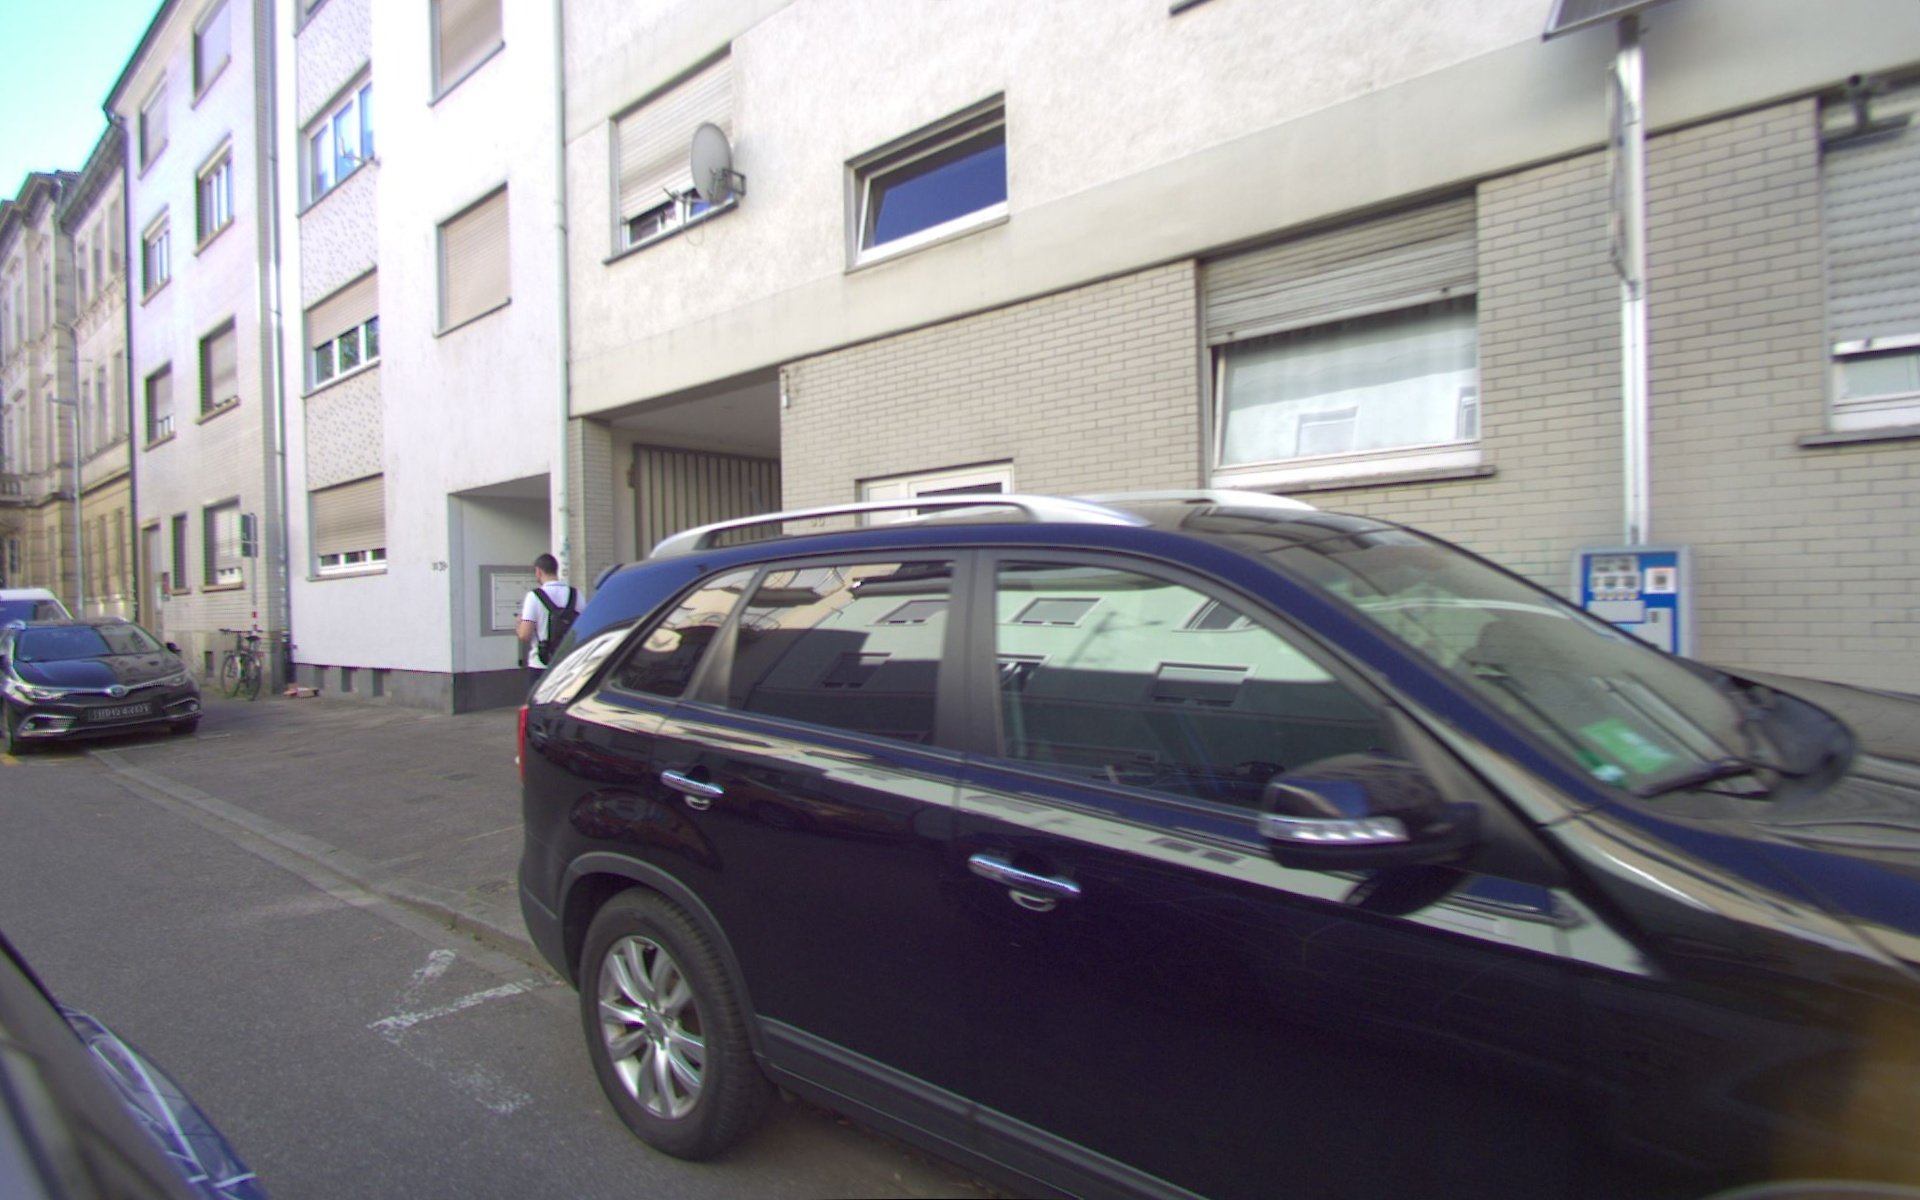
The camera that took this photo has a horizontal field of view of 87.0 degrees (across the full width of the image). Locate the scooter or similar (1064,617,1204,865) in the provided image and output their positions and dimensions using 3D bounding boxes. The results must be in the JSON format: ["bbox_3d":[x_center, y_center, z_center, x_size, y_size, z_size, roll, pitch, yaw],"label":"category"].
[{"bbox_3d":[0.976,0.744,5.920,0.431,1.288,1.235,0,-1,-8],"label":"scooter or similar"}]

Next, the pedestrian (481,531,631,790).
[{"bbox_3d":[-3.249,0.445,8.152,0.690,1.948,0.798,-2,2,41],"label":"pedestrian"}]

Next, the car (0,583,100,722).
[{"bbox_3d":[-15.654,0.847,16.267,4.776,1.973,1.876,-2,1,39],"label":"car"}]

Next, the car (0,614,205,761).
[{"bbox_3d":[-10.918,0.948,12.421,4.298,1.461,1.690,-1,0,40],"label":"car"}]

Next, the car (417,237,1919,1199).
[{"bbox_3d":[0.750,0.485,2.447,4.536,1.768,1.862,-2,2,38],"label":"car"}]

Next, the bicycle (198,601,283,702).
[{"bbox_3d":[-11.521,0.808,16.189,1.797,1.520,0.552,-1,1,38],"label":"bicycle"}]

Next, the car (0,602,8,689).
[{"bbox_3d":[-22.609,1.084,22.408,4.087,1.890,1.727,-2,3,41],"label":"car"}]
